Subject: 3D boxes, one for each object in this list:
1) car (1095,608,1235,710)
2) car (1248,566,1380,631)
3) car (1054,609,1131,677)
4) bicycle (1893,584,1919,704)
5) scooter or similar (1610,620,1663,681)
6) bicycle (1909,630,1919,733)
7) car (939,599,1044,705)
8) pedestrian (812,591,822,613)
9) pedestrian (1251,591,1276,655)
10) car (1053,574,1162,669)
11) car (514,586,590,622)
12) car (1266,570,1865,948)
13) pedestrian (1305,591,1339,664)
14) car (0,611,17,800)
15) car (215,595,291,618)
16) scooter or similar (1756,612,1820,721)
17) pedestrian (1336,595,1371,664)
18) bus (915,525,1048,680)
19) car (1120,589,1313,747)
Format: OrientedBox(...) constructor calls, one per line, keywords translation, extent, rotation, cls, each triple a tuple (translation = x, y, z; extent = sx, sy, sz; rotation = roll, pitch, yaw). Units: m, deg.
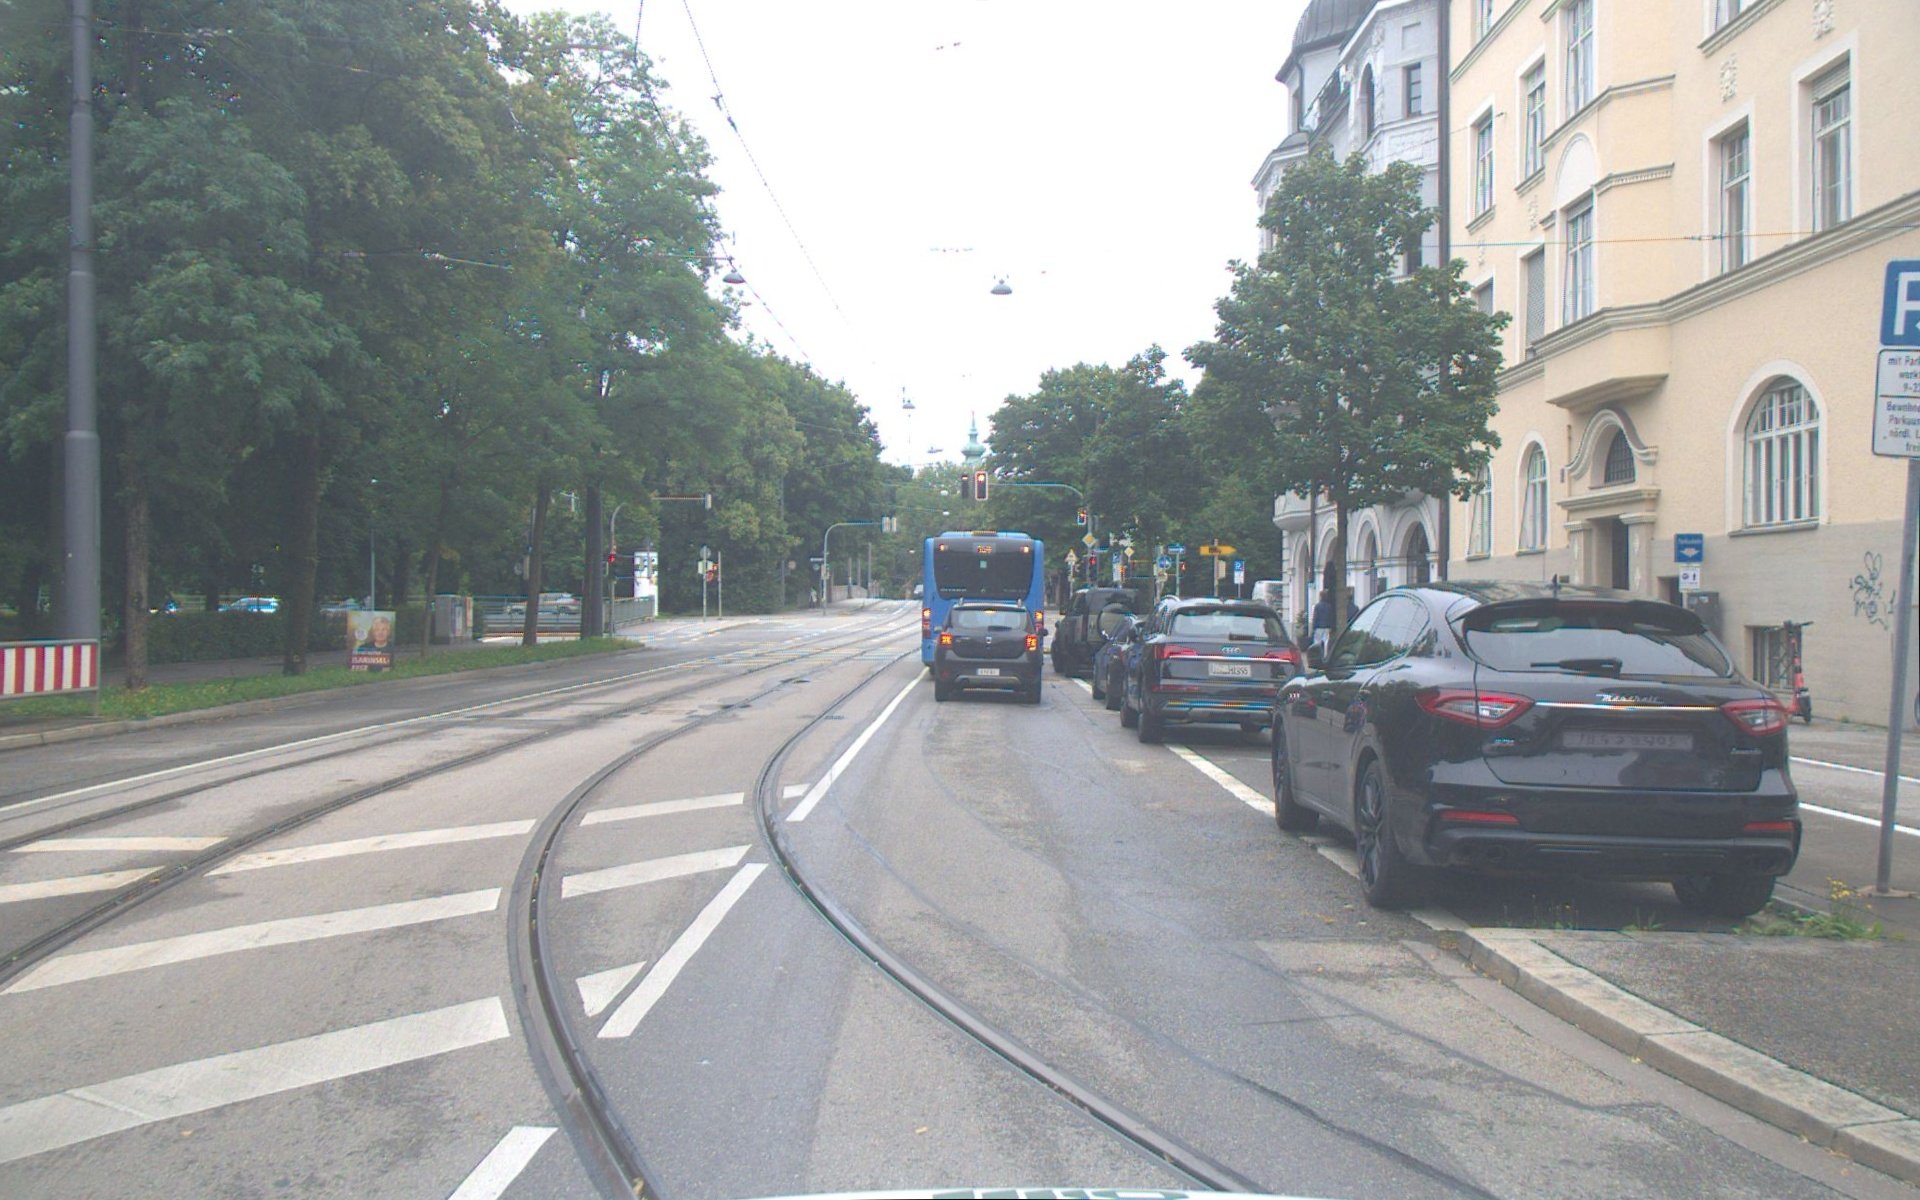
OrientedBox(translation=(3.171, 0.874, 26.392), extent=(1.680, 1.451, 4.602), rotation=(1, 0, 0), cls="car")
OrientedBox(translation=(15.303, -0.054, 71.660), extent=(5.189, 2.658, 2.230), rotation=(1, 0, -2), cls="car")
OrientedBox(translation=(3.336, 1.060, 42.328), extent=(1.679, 1.619, 4.327), rotation=(1, 0, 1), cls="car")
OrientedBox(translation=(10.836, 0.494, 18.132), extent=(0.325, 1.335, 1.537), rotation=(1, 0, 0), cls="bicycle")
OrientedBox(translation=(10.977, 0.819, 26.849), extent=(0.648, 0.963, 0.547), rotation=(1, -1, 2), cls="scooter or similar")
OrientedBox(translation=(10.729, 0.891, 17.610), extent=(0.281, 1.125, 1.441), rotation=(0, 0, -6), cls="bicycle")
OrientedBox(translation=(0.495, 0.802, 27.038), extent=(1.568, 1.584, 3.525), rotation=(1, 0, 0), cls="car")
OrientedBox(translation=(-9.783, 0.143, 113.010), extent=(0.520, 1.527, 0.588), rotation=(1, -1, 5), cls="pedestrian")
OrientedBox(translation=(9.955, 0.749, 54.211), extent=(0.659, 2.049, 0.716), rotation=(1, -1, 0), cls="pedestrian")
OrientedBox(translation=(3.200, 0.458, 36.784), extent=(1.875, 1.939, 4.806), rotation=(1, 0, -1), cls="car")
OrientedBox(translation=(-23.146, 0.230, 93.896), extent=(3.944, 1.920, 1.489), rotation=(1, 0, -6), cls="car")
OrientedBox(translation=(3.109, 0.682, 9.654), extent=(1.861, 1.638, 4.666), rotation=(1, 0, 1), cls="car")
OrientedBox(translation=(9.384, 0.704, 42.916), extent=(0.690, 1.848, 0.870), rotation=(1, -1, 1), cls="pedestrian")
OrientedBox(translation=(-7.912, 0.851, 10.154), extent=(1.591, 1.413, 4.837), rotation=(-3, 1, -3), cls="car")
OrientedBox(translation=(-39.740, 0.373, 92.979), extent=(3.655, 1.206, 1.249), rotation=(1, 0, -4), cls="car")
OrientedBox(translation=(10.496, 0.825, 20.986), extent=(0.256, 1.335, 1.142), rotation=(1, 0, 1), cls="scooter or similar")
OrientedBox(translation=(10.189, 0.752, 42.870), extent=(0.690, 1.762, 0.843), rotation=(1, -1, 1), cls="pedestrian")
OrientedBox(translation=(0.383, 0.069, 36.580), extent=(2.624, 3.050, 6.959), rotation=(1, 0, -1), cls="bus")
OrientedBox(translation=(2.981, 0.742, 20.068), extent=(1.737, 1.687, 4.488), rotation=(1, 0, 1), cls="car")
